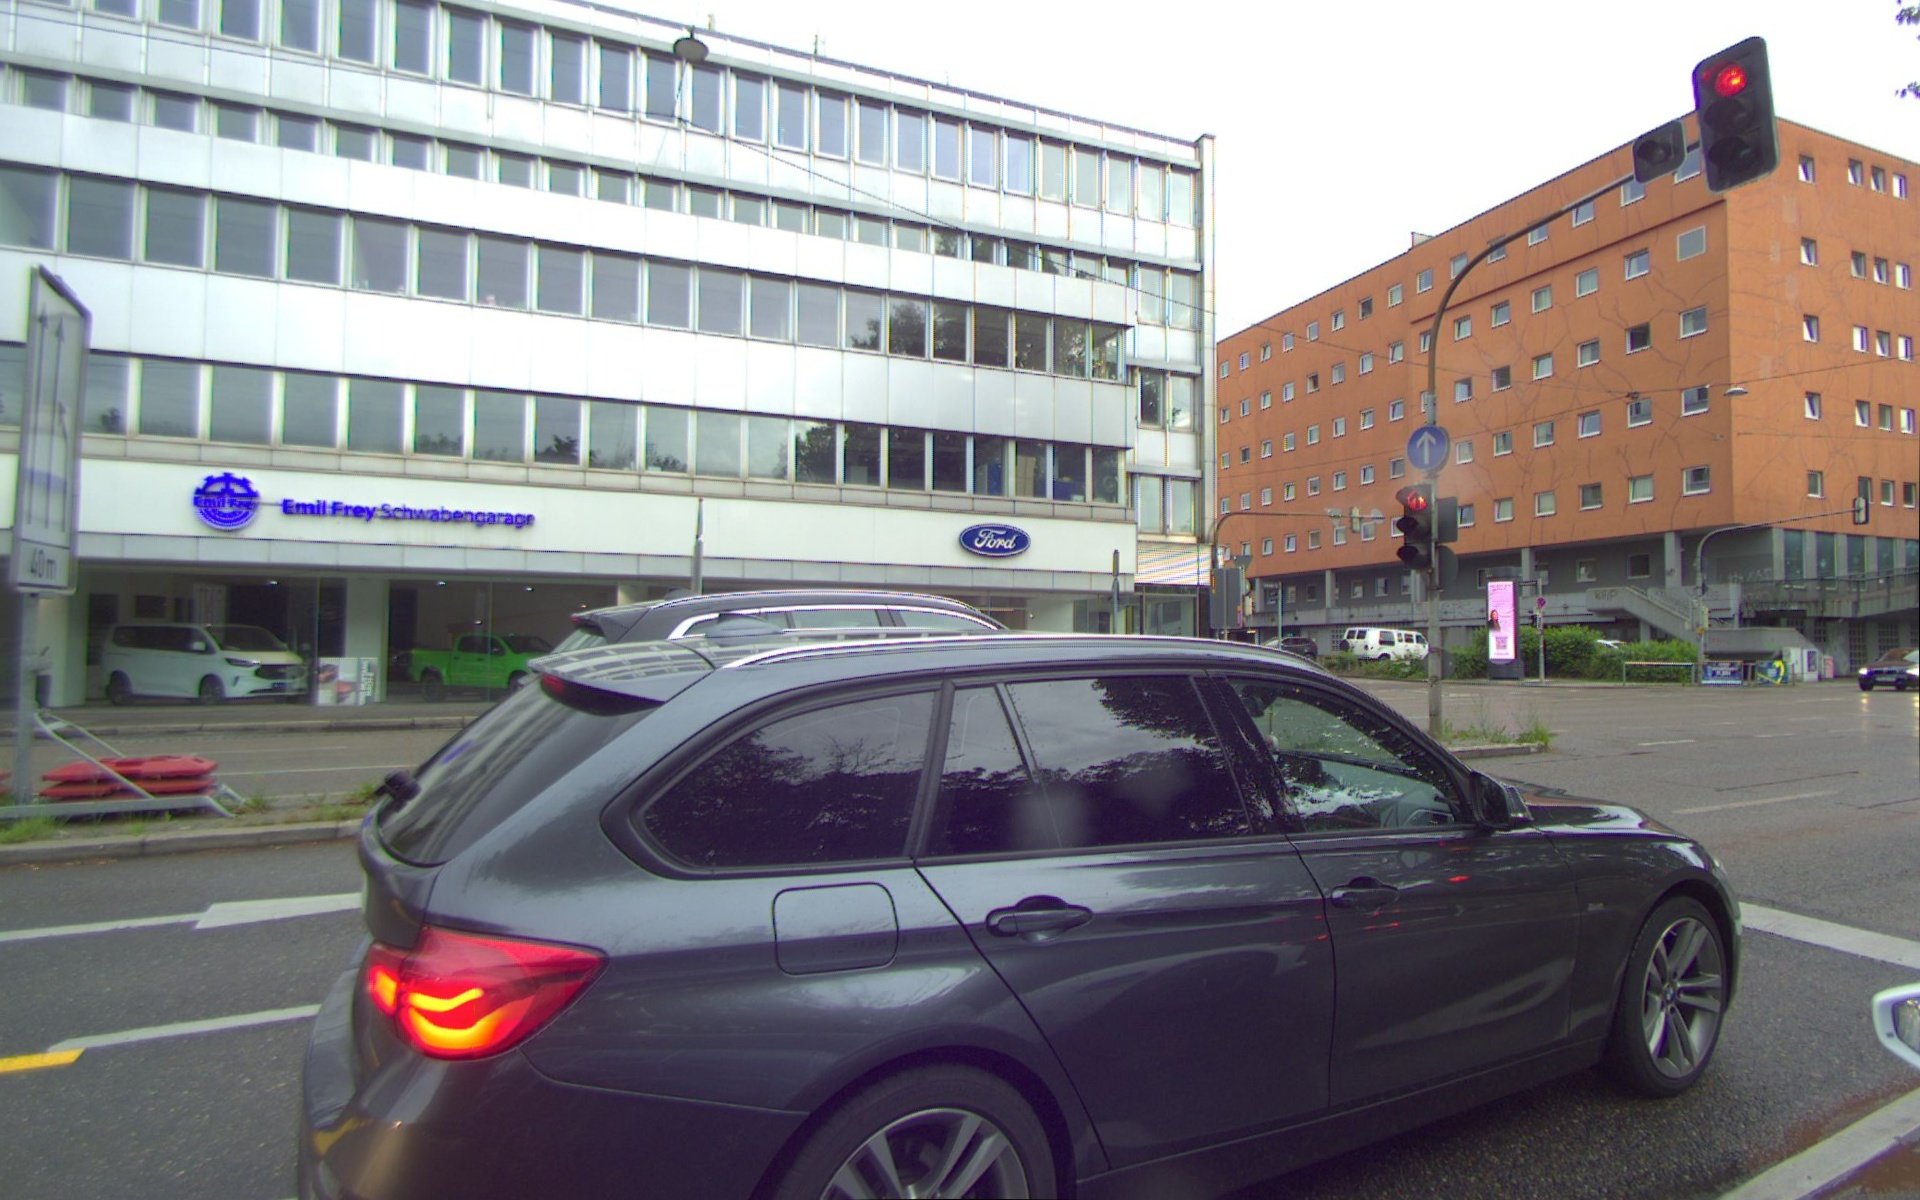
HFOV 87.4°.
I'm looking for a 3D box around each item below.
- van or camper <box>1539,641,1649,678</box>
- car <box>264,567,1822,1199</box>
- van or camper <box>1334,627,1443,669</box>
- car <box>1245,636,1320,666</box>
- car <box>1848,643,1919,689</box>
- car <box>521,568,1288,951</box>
[{"bbox_3d":[29.443,2.728,46.768,1.887,1.648,3.978,1,-2,-23],"label":"van or camper"},{"bbox_3d":[0.616,0.786,3.148,4.424,1.477,1.769,2,-3,-30],"label":"car"},{"bbox_3d":[22.342,2.502,52.381,5.376,2.004,2.121,2,0,-23],"label":"van or camper"},{"bbox_3d":[18.963,2.973,59.019,4.027,1.633,1.706,2,0,-23],"label":"car"},{"bbox_3d":[31.654,2.191,33.476,4.161,1.437,1.680,2,-3,-27],"label":"car"},{"bbox_3d":[-0.255,0.754,6.232,4.389,1.678,1.802,2,0,-28],"label":"car"}]
